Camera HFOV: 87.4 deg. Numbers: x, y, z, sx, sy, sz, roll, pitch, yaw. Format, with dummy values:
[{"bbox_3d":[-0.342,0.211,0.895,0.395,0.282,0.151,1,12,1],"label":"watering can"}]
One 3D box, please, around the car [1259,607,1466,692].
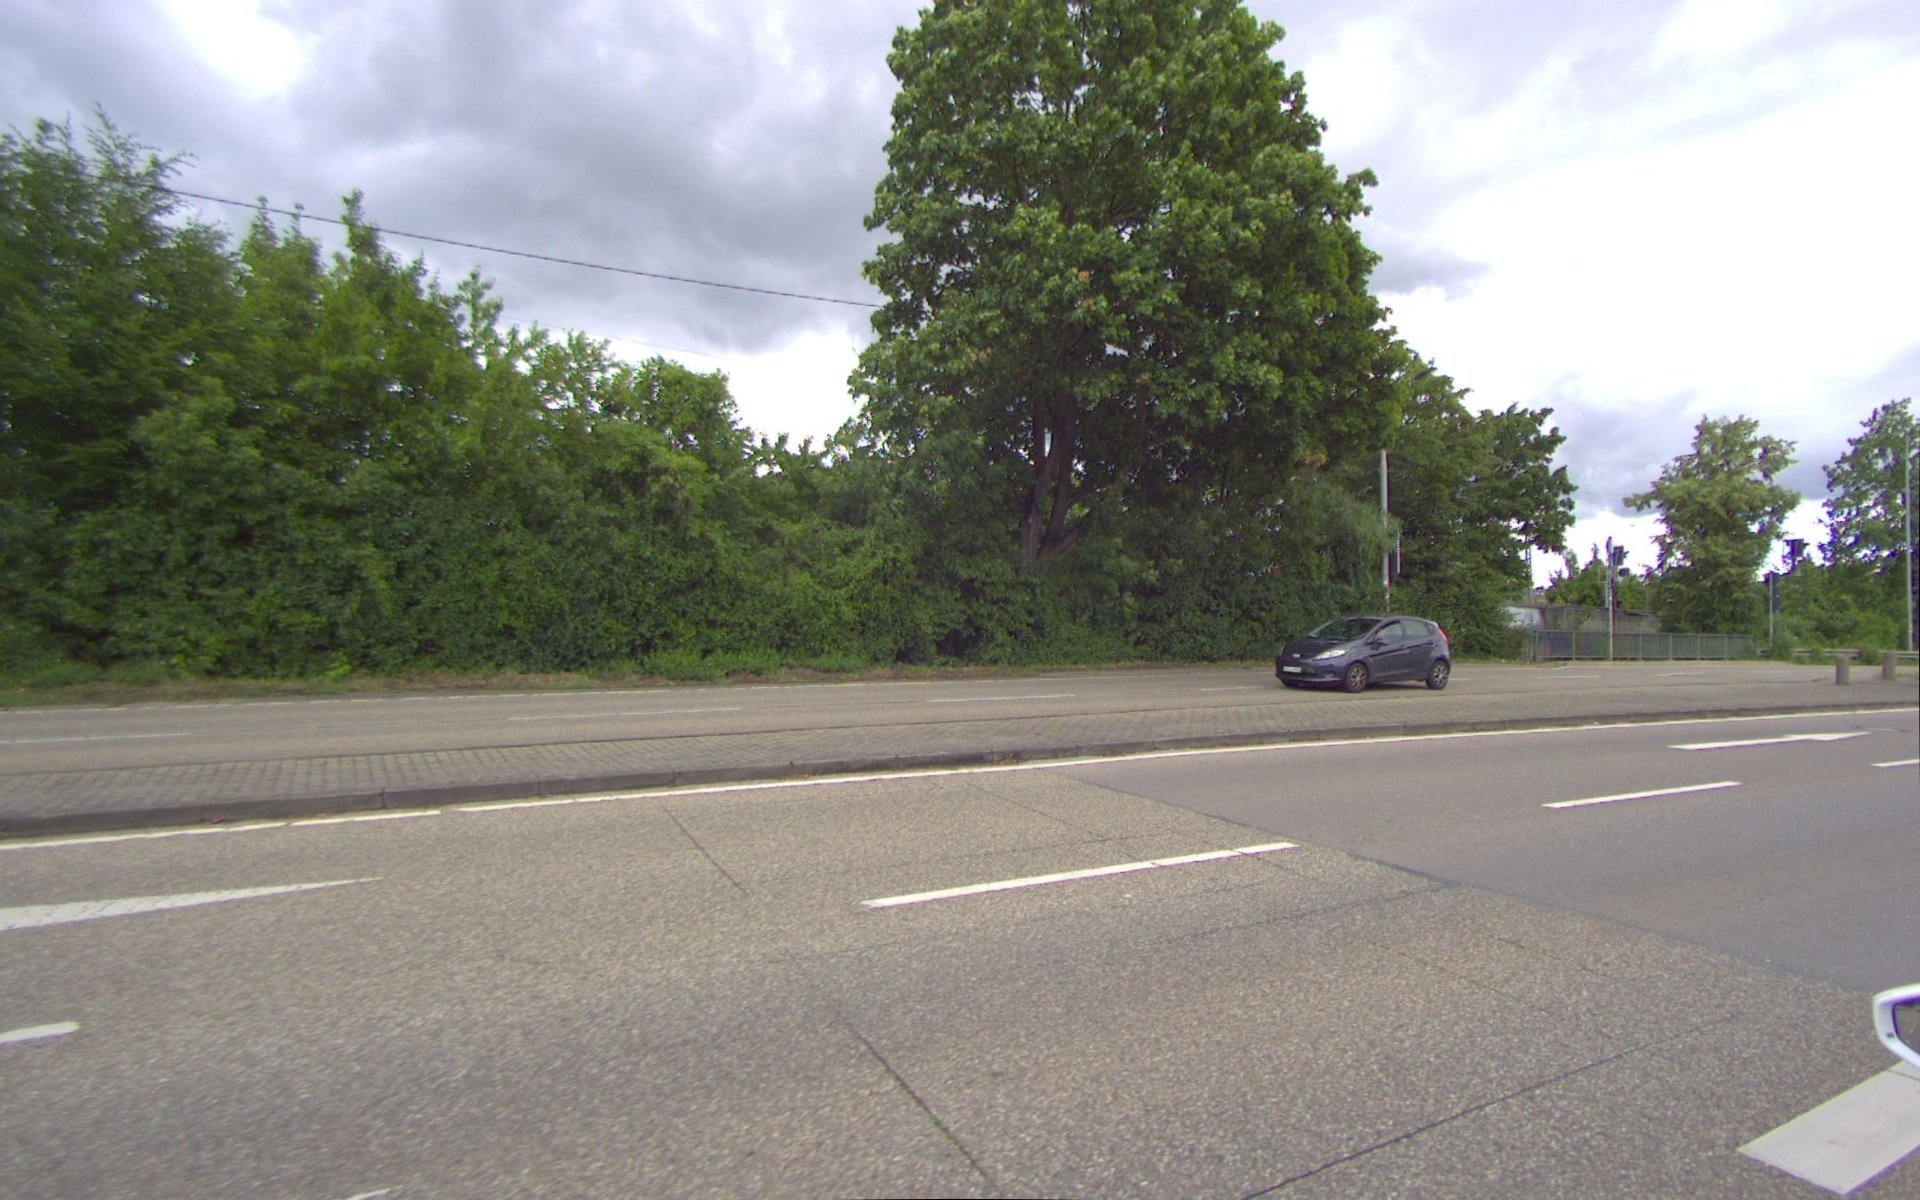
[{"bbox_3d":[7.927,0.944,19.736,3.953,1.483,1.690,2,1,-30],"label":"car"}]
